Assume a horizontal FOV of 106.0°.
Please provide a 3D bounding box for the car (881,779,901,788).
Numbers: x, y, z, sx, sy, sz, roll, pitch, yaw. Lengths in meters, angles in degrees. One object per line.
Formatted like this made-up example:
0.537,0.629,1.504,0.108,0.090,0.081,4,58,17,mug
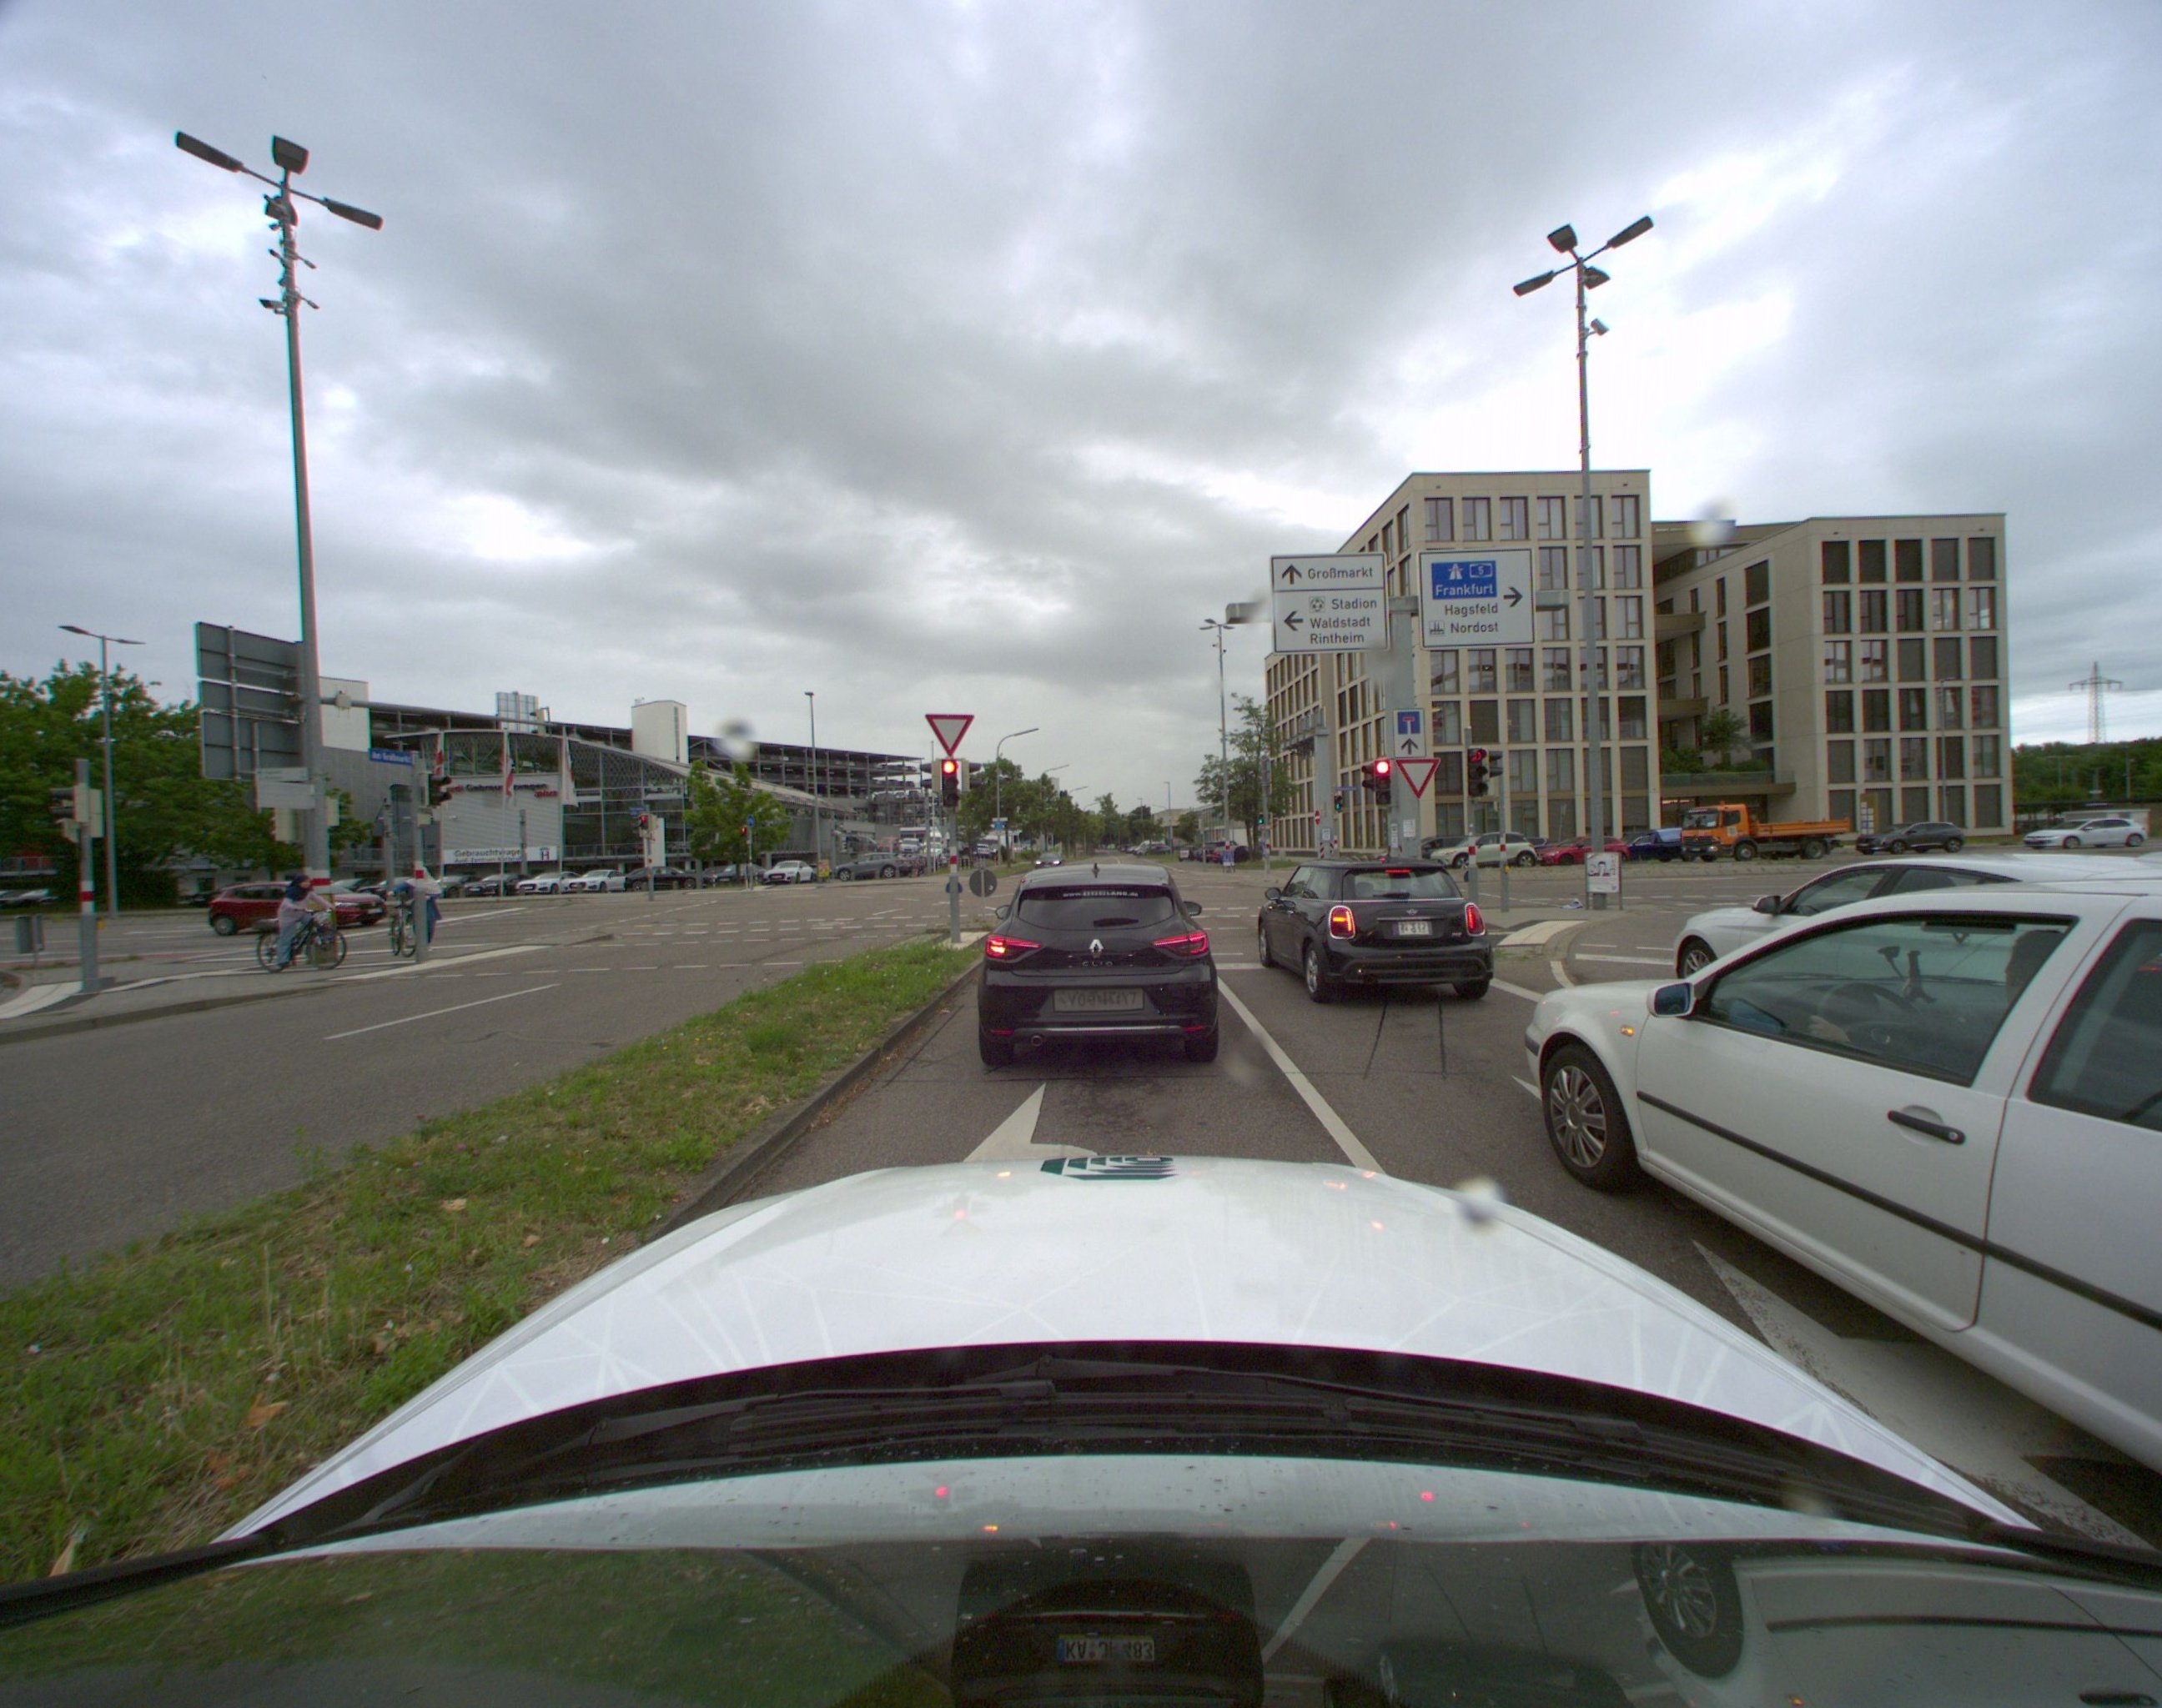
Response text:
-41.427,-15.295,177.691,3.948,1.667,2.013,-1,0,33,car

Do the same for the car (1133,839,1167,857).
12.760,-1.099,151.517,6.096,3.116,2.134,0,-1,0,car

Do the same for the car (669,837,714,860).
-30.523,-0.405,63.950,1.815,1.662,3.996,0,-1,-3,car

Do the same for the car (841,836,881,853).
-24.555,-1.094,90.900,3.975,1.838,1.759,0,-1,-1,car

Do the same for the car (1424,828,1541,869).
16.917,-0.229,34.453,4.047,1.643,1.903,0,-1,-4,car

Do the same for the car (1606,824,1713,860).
29.474,-0.585,41.582,4.126,1.769,1.998,0,-1,-3,car

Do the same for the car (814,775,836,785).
-51.027,-14.777,162.284,3.948,1.667,2.013,-1,0,33,car

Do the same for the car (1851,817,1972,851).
42.566,-0.988,41.838,4.089,1.657,2.002,0,-1,3,car

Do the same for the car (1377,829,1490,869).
16.268,-0.217,37.733,4.396,1.769,1.998,0,-1,-3,car

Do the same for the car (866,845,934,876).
-13.763,0.478,62.160,4.765,2.013,1.997,-4,0,-5,car

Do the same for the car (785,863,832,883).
-26.095,1.799,78.027,3.979,1.838,1.757,0,-1,-4,car

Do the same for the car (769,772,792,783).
-56.709,-14.430,153.781,3.948,1.667,2.013,-1,0,33,car

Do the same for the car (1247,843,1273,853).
24.281,-0.849,110.482,3.238,1.332,1.477,0,-1,-17,car

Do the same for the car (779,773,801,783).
-55.740,-14.556,155.841,3.948,1.667,2.013,-1,0,33,car

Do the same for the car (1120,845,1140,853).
13.094,-1.417,218.947,5.156,2.014,2.144,0,-1,0,car

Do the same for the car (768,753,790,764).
-56.973,-17.991,153.708,3.948,1.667,2.013,-1,0,33,car

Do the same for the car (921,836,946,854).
-15.208,-0.908,84.002,1.988,1.823,3.997,0,-1,-2,car

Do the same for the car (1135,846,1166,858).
11.263,-0.361,132.184,4.771,1.891,2.143,0,-1,-1,car

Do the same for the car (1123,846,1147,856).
12.080,-0.641,182.141,5.156,2.014,2.144,0,-1,0,car

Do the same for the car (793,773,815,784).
-53.828,-14.670,158.027,3.948,1.667,2.013,-1,0,33,car

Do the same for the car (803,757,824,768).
-52.618,-17.994,160.130,3.948,1.667,2.013,-1,0,33,car

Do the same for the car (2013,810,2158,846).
50.159,-1.256,40.755,4.319,1.657,2.006,-1,-1,10,car

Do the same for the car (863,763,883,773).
-44.294,-18.378,173.633,3.948,1.667,2.013,-1,0,33,car

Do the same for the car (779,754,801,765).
-55.627,-17.986,155.545,3.948,1.667,2.013,-1,0,33,car

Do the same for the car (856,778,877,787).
-45.169,-15.017,171.332,3.948,1.667,2.013,-1,0,33,car

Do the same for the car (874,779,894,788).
-42.602,-15.221,175.760,3.948,1.667,2.013,-1,0,33,car

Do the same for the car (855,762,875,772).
-45.519,-18.303,171.683,3.948,1.667,2.013,-1,0,33,car

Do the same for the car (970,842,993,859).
-10.212,-0.353,83.755,1.988,1.618,3.997,0,-1,-2,car

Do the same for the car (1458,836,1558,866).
21.510,-0.144,41.127,4.126,1.490,1.870,0,-1,-3,car

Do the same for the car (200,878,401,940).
-23.055,1.599,24.189,4.058,1.487,1.738,-3,0,-5,car

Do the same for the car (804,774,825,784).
-52.412,-14.729,160.120,3.948,1.667,2.013,-1,0,33,car

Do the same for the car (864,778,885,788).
-43.963,-15.093,173.267,3.948,1.667,2.013,-1,0,33,car

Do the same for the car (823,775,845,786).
-49.786,-14.798,164.109,3.948,1.667,2.013,-1,0,33,car

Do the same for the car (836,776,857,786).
-48.079,-14.923,166.639,3.948,1.667,2.013,-1,0,33,car

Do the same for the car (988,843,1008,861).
-9.745,-0.206,95.495,1.988,2.014,3.997,0,-1,-2,car

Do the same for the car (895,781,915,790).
-39.154,-15.240,180.990,3.948,1.667,2.013,-1,0,33,car

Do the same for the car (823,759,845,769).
-49.797,-18.159,164.191,3.948,1.667,2.013,-1,0,33,car

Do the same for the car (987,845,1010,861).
-8.569,-0.091,84.825,1.987,1.618,3.999,0,-1,0,car

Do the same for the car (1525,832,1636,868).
23.239,-0.161,37.969,3.976,1.601,1.999,0,-1,-2,car

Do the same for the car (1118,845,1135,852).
12.910,-1.635,229.876,4.771,1.891,2.143,0,-1,-1,car

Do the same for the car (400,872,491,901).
-35.548,1.833,45.723,1.897,1.486,4.186,-2,-2,-2,car

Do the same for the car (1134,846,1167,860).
10.974,-0.153,128.927,5.158,2.014,2.143,0,-1,-1,car

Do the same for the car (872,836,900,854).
-20.105,-0.917,84.233,1.988,1.849,3.997,0,-1,-2,car

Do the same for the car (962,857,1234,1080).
0.173,0.759,7.279,1.750,1.434,4.001,0,-1,2,car

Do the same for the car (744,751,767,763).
-59.707,-17.753,149.325,3.948,1.667,2.013,-1,0,33,car

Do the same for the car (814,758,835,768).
-51.148,-18.171,162.398,3.948,1.667,2.013,-1,0,33,car

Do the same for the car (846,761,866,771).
-46.697,-18.317,169.085,3.948,1.667,2.013,-1,0,33,car

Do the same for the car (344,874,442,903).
-38.405,1.946,45.625,1.883,1.471,4.375,-2,-2,-2,car

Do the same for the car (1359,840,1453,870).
16.331,0.050,41.017,4.074,1.432,1.750,0,-1,-3,car

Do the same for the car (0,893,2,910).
-63.246,2.819,44.961,1.808,1.486,4.072,0,-5,-2,car

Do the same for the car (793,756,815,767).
-53.848,-18.001,158.145,3.948,1.667,2.013,-1,0,33,car

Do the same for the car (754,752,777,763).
-58.663,-17.895,151.351,3.948,1.667,2.013,-1,0,33,car

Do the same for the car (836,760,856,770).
-48.142,-18.243,166.816,3.948,1.667,2.013,-1,0,33,car

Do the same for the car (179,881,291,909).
-46.627,2.242,45.007,1.845,1.421,4.214,-2,-2,-2,car

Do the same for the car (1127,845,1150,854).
12.341,-0.994,175.527,4.771,1.891,2.143,0,-1,-1,car
